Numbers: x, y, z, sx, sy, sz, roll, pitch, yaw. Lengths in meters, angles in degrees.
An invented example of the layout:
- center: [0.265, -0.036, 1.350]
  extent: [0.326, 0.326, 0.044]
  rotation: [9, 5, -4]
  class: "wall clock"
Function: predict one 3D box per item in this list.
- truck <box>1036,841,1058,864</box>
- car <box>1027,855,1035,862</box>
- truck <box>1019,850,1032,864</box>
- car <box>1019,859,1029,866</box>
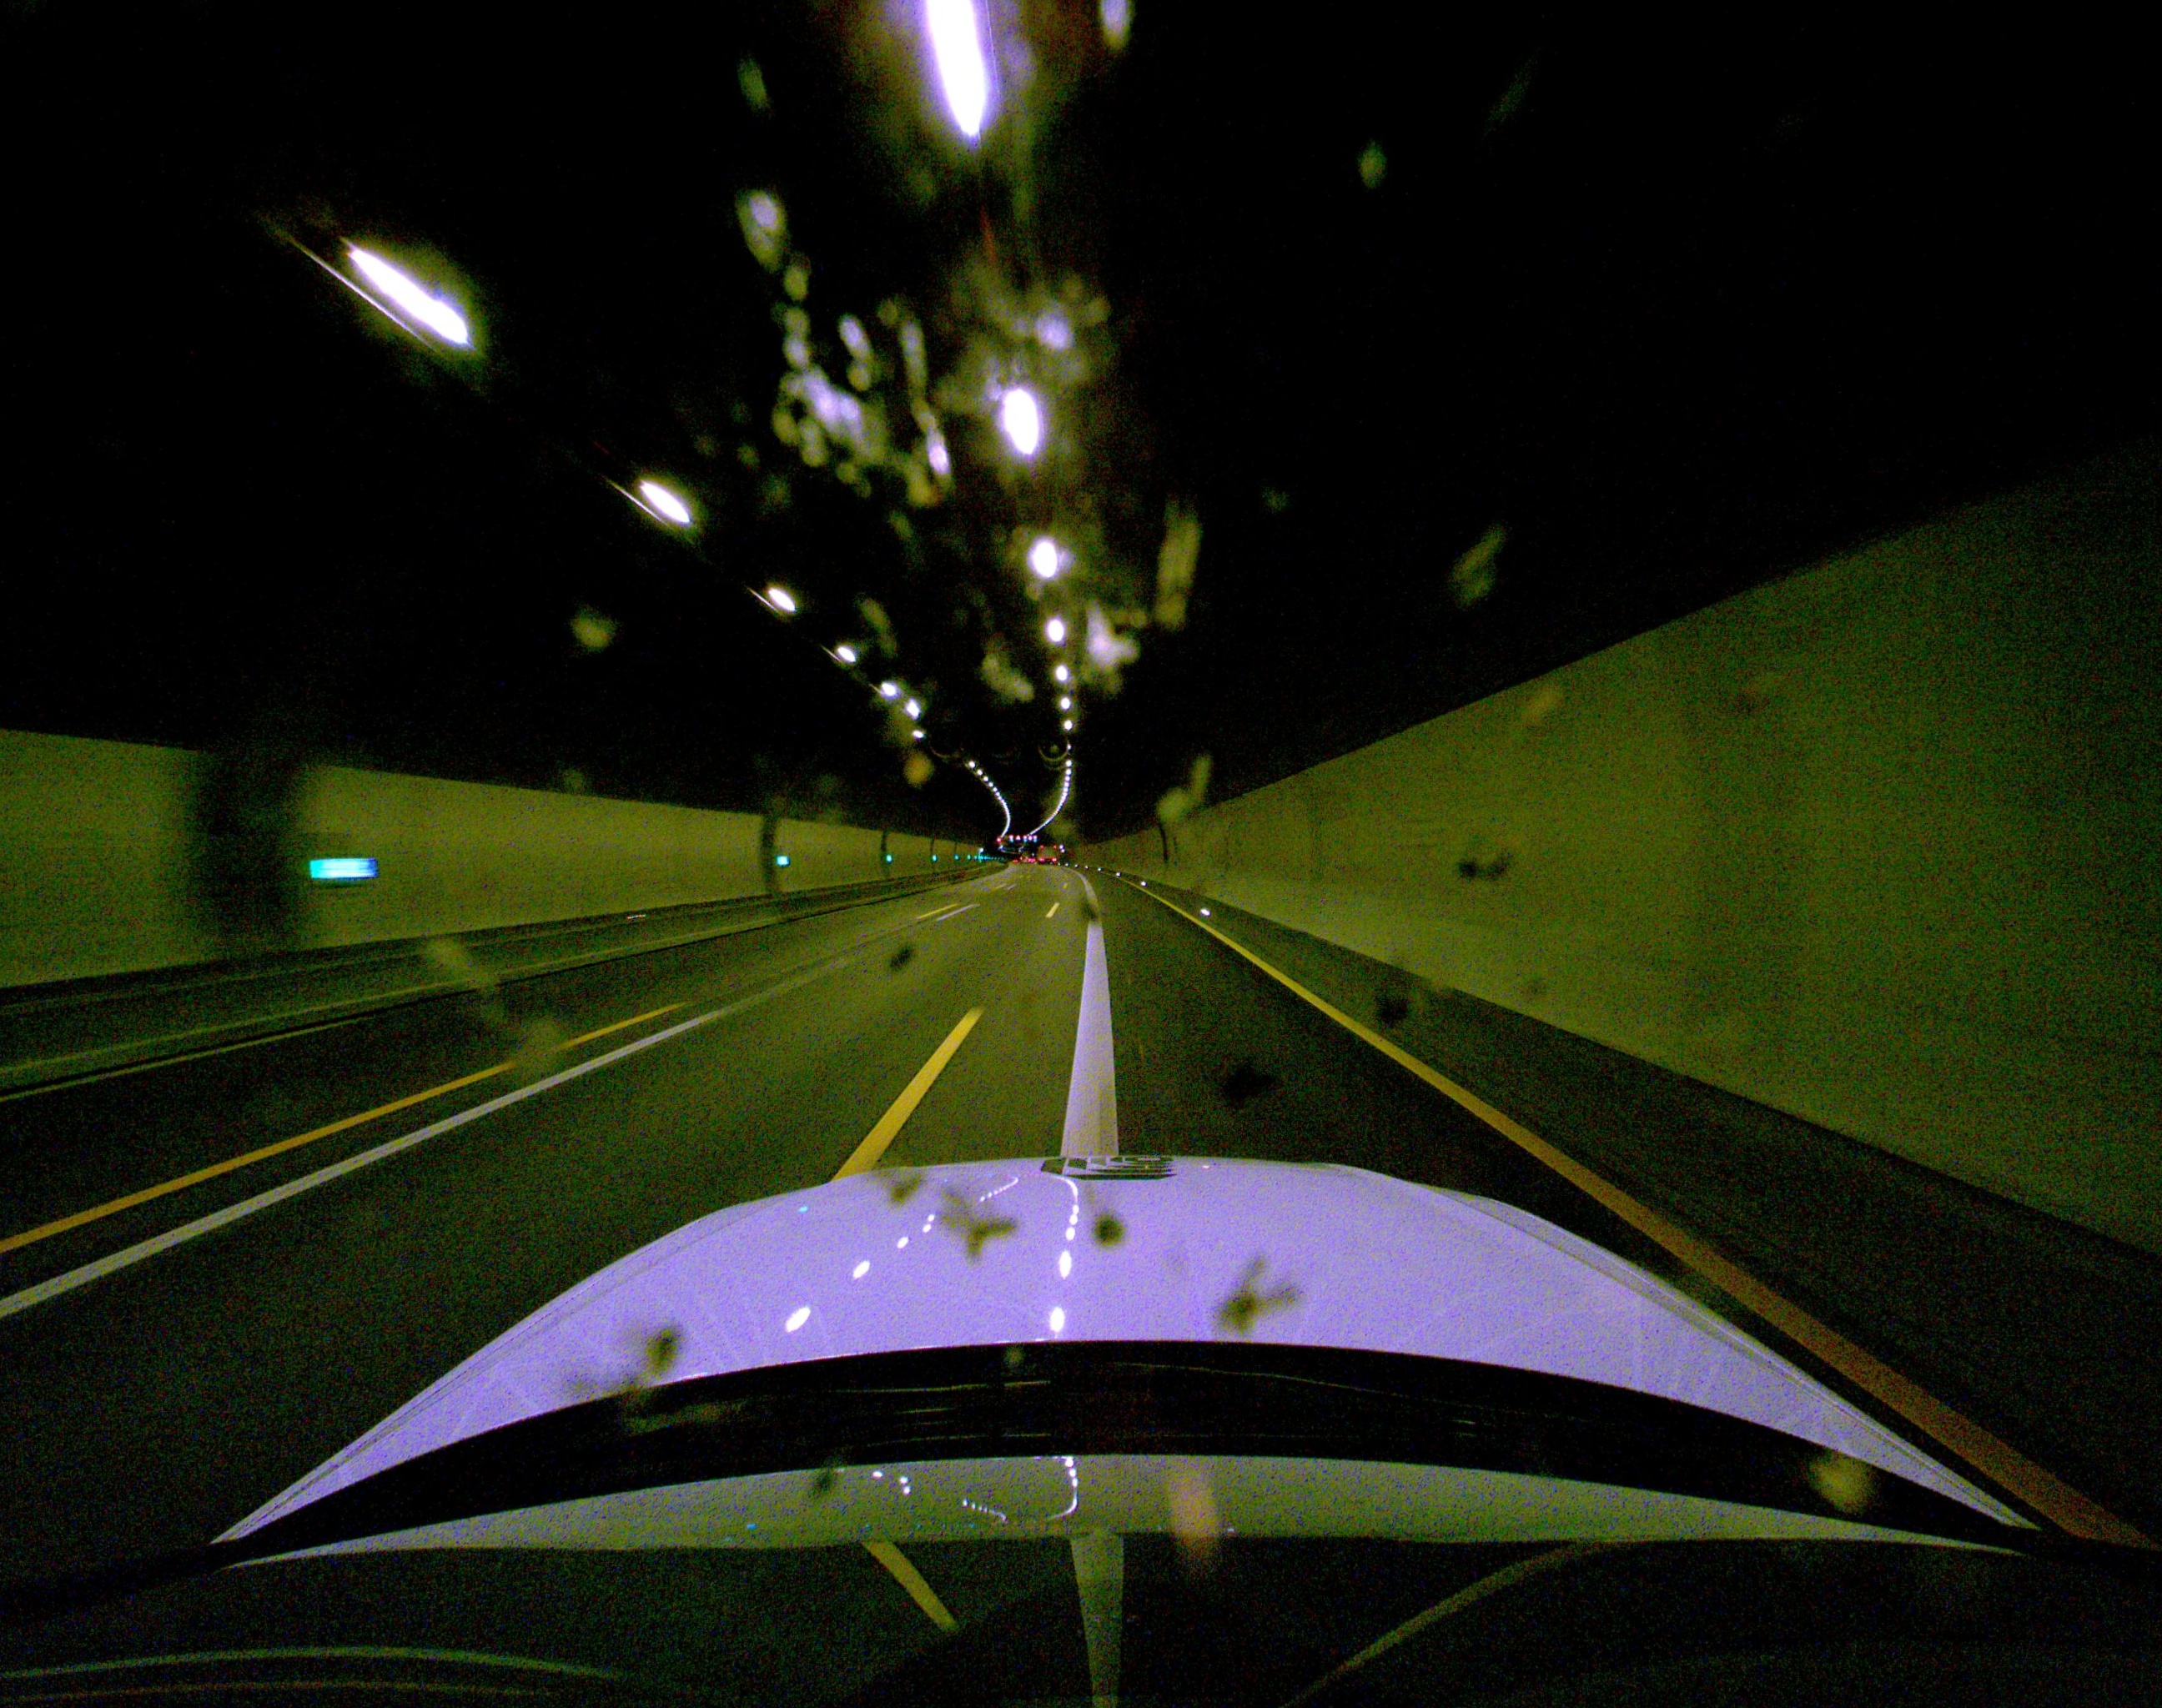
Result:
- center: [-6.734, -0.312, 159.164]
  extent: [3.470, 4.316, 10.926]
  rotation: [-1, 0, -7]
  class: "truck"
- center: [-13.333, 1.170, 217.895]
  extent: [1.990, 2.013, 3.993]
  rotation: [-1, 0, -5]
  class: "car"
- center: [-17.683, 0.885, 258.150]
  extent: [3.470, 4.316, 10.926]
  rotation: [-1, 0, -6]
  class: "truck"
- center: [-12.941, 1.933, 184.333]
  extent: [1.992, 1.582, 3.990]
  rotation: [0, 0, -7]
  class: "car"
